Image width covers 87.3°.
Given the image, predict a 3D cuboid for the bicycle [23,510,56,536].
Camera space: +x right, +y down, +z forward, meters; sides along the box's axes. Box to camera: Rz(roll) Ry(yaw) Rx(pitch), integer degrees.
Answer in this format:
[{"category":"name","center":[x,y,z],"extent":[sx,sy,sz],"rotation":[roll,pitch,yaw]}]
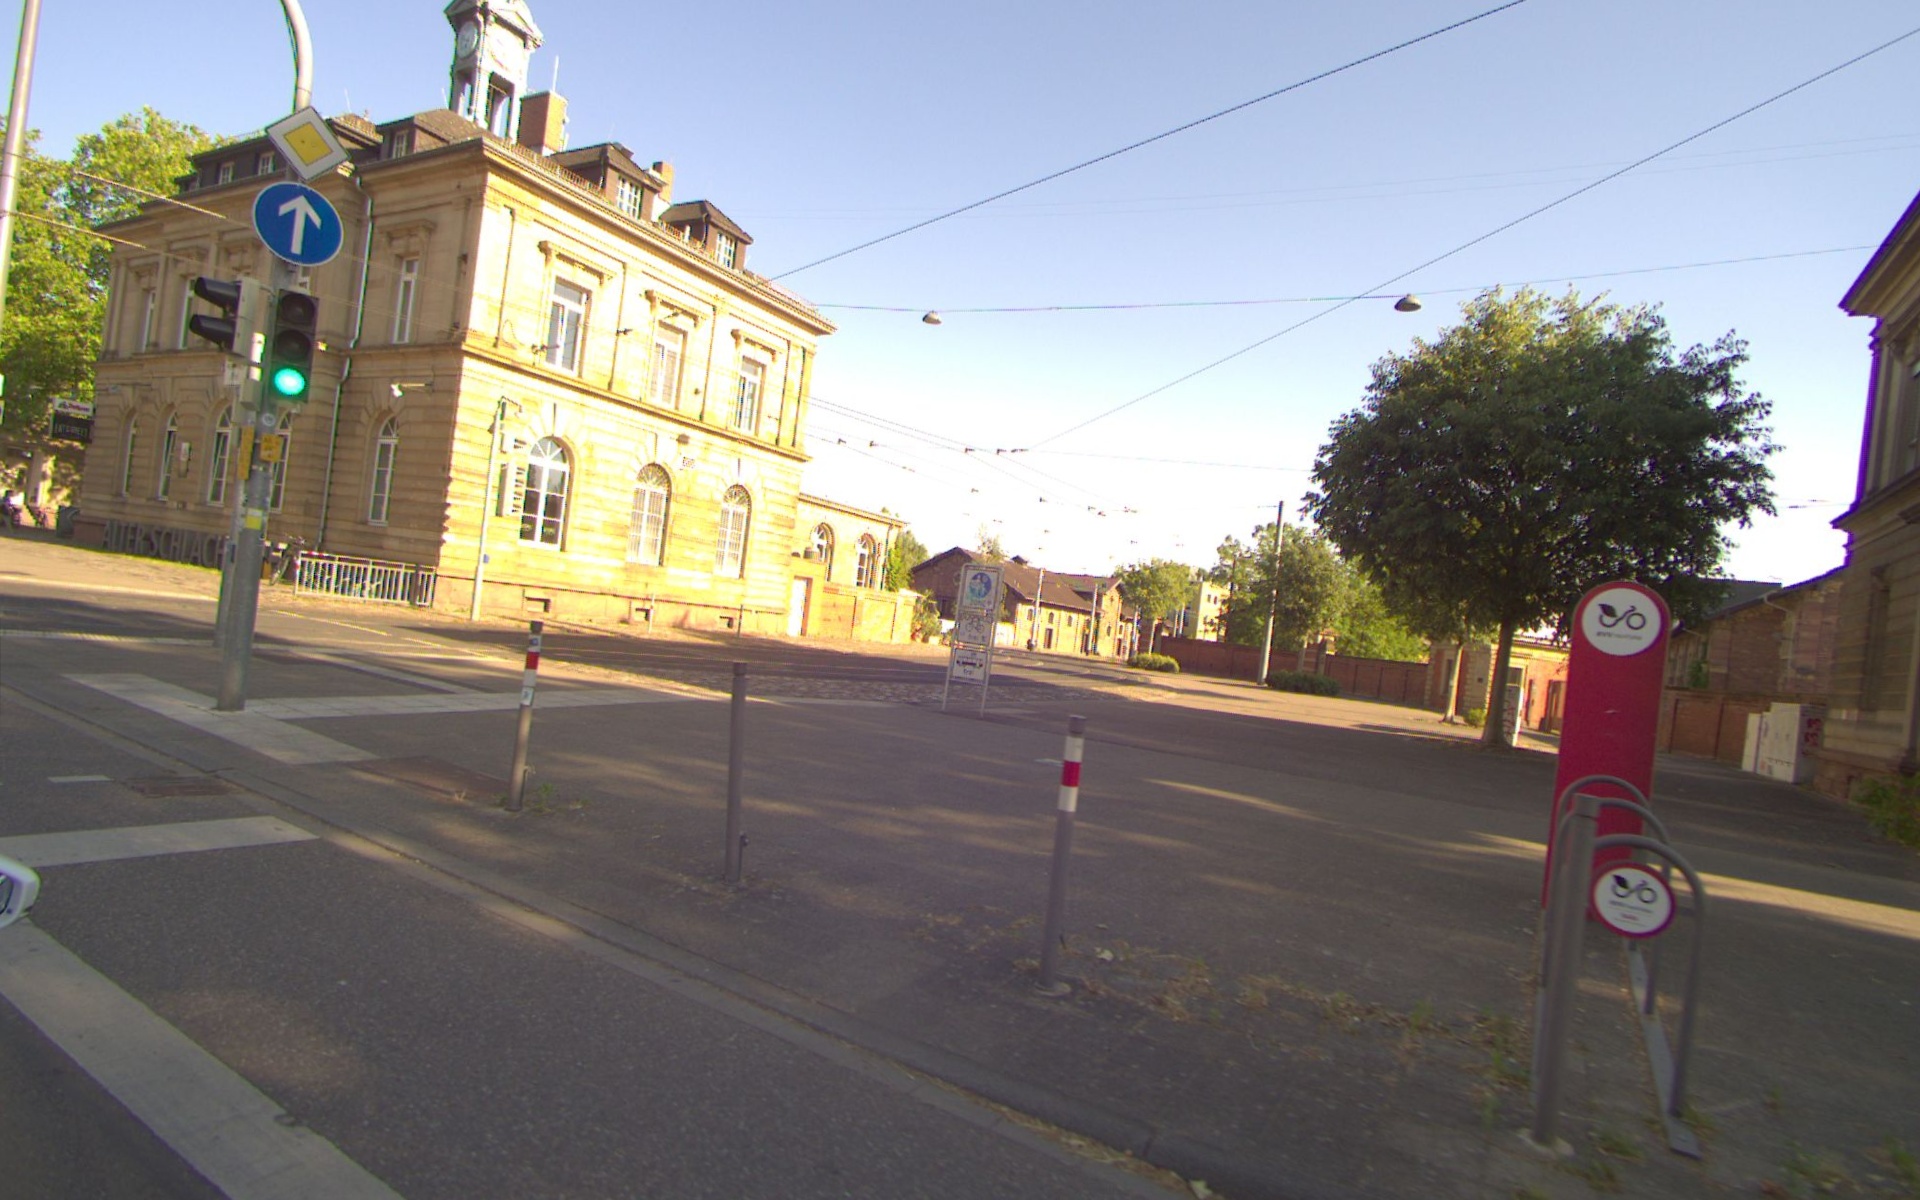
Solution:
[{"category":"bicycle","center":[-44.872,-3.742,49.038],"extent":[2.194,1.060,0.526],"rotation":[7,0,32]}]

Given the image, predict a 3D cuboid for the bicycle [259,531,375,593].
[{"category":"bicycle","center":[-15.186,-0.874,23.825],"extent":[0.752,1.224,2.140],"rotation":[7,0,29]}]

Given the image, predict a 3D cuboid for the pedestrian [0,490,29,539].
[{"category":"pedestrian","center":[-39.188,-3.544,41.295],"extent":[0.811,1.888,0.982],"rotation":[7,0,19]}]

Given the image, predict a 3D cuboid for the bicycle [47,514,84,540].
[{"category":"bicycle","center":[-44.517,-3.640,50.059],"extent":[2.191,1.060,0.527],"rotation":[7,0,27]}]

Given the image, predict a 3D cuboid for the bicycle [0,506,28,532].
[{"category":"bicycle","center":[-45.122,-3.854,47.572],"extent":[2.316,1.060,0.527],"rotation":[7,0,23]}]
